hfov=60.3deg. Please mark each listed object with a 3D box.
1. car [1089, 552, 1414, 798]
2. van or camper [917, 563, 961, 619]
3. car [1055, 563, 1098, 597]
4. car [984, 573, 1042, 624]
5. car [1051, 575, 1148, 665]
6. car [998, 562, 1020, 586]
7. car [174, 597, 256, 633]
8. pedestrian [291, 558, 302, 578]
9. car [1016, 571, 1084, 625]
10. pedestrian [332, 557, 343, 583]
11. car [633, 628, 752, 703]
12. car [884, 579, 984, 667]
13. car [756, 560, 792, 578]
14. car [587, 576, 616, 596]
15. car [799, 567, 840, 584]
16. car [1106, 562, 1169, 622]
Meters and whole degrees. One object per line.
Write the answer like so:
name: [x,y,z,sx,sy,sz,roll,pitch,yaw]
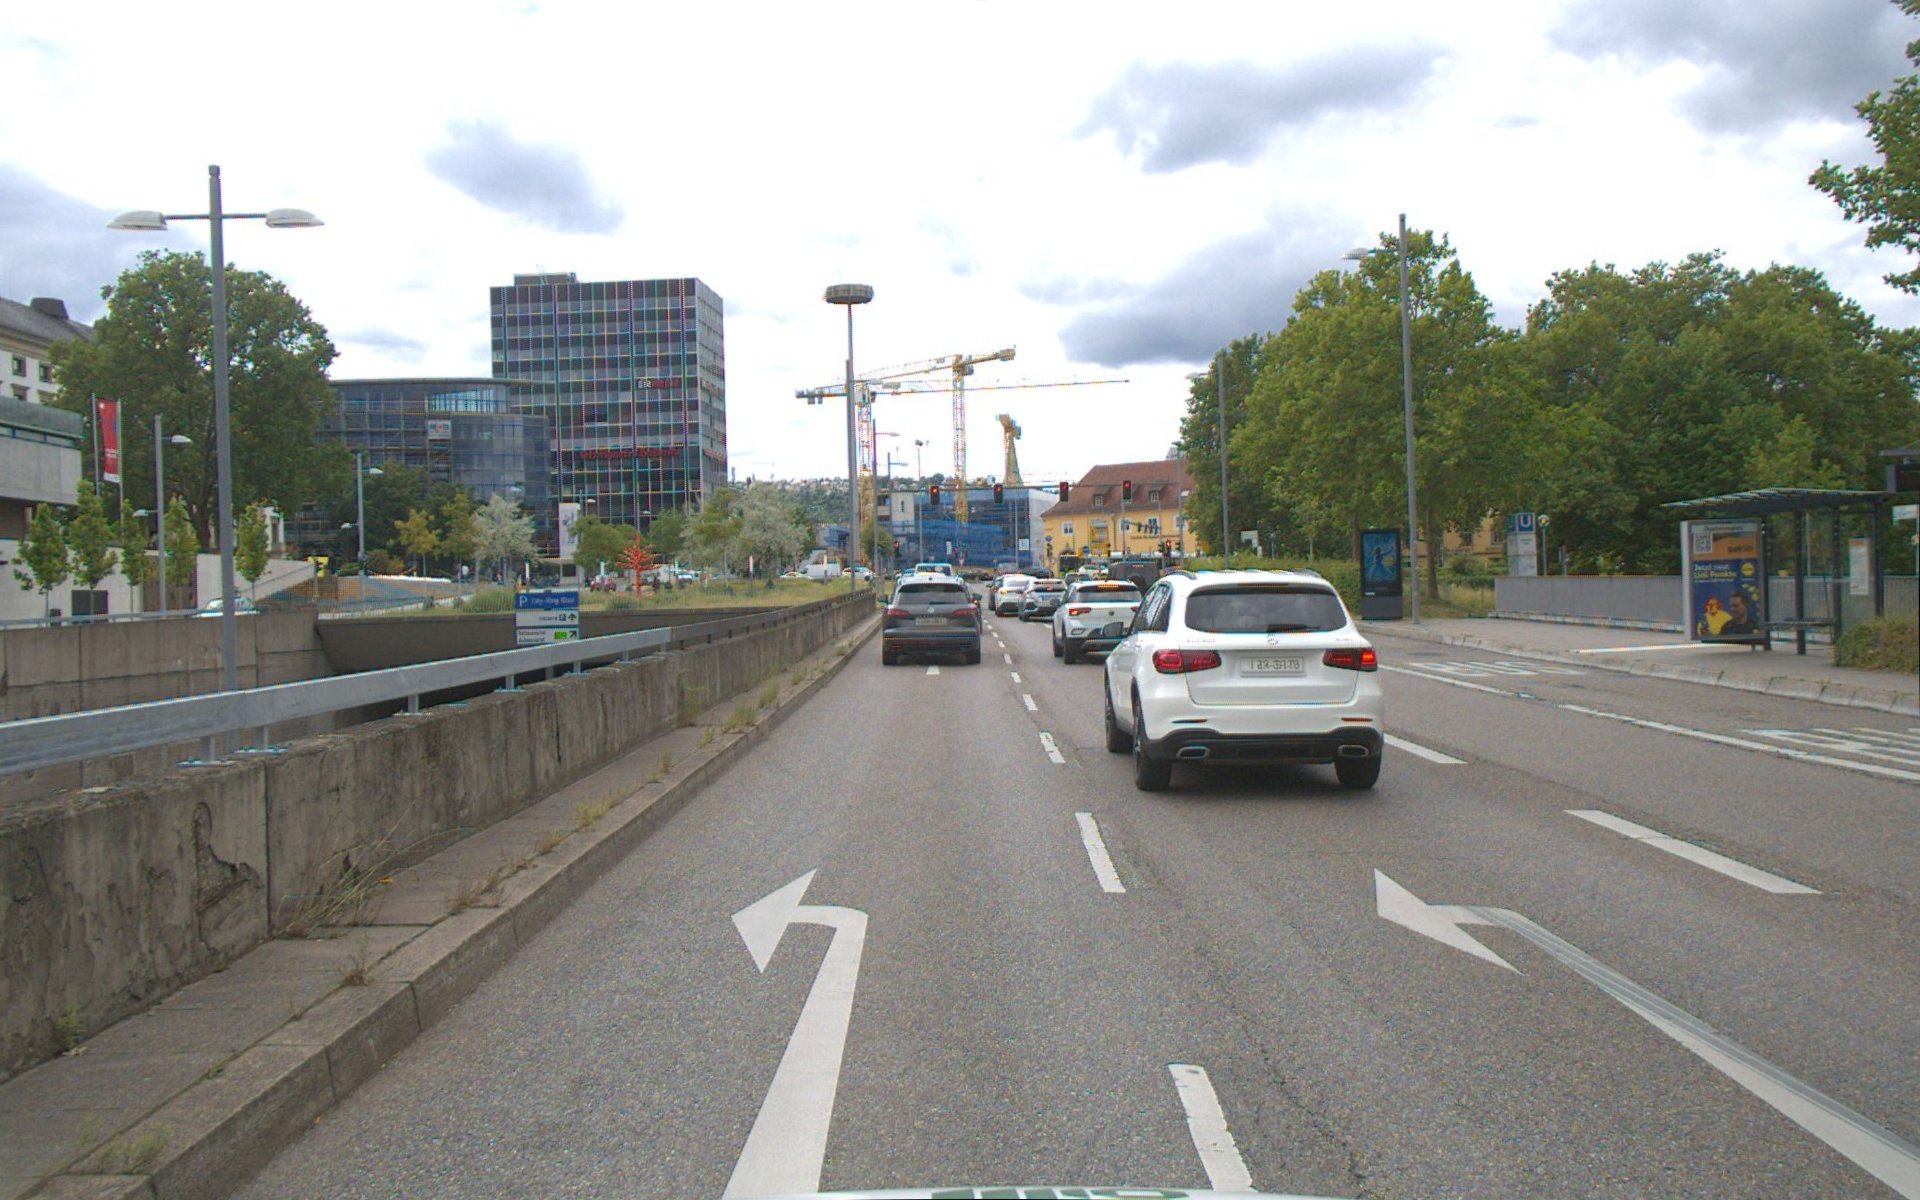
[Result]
car: [2.202,0.546,13.599,1.901,1.713,3.999,0,-1,-1]
van or camper: [-0.935,-0.379,73.686,1.883,2.360,3.999,-1,-2,-1]
car: [5.709,-0.960,81.422,1.684,1.612,3.998,1,0,-2]
car: [1.926,-0.042,61.158,1.953,1.812,3.999,1,-1,-1]
car: [2.736,0.345,33.163,1.638,1.656,4.001,1,1,0]
car: [4.346,-2.275,146.814,1.763,2.049,3.999,1,-1,-1]
car: [-30.849,0.617,68.557,1.772,1.452,3.706,1,-1,-2]
pedestrian: [-59.149,-2.847,147.471,0.626,1.759,0.695,1,-1,0]
car: [2.902,-0.030,54.347,1.953,1.691,3.999,1,-1,-1]
pedestrian: [-42.066,-2.020,111.767,0.630,1.759,0.690,1,-1,-24]
car: [-5.291,1.264,33.168,1.684,1.315,4.000,1,0,0]
car: [-0.521,0.418,33.262,1.883,1.630,3.999,-1,0,-1]
car: [-21.913,-3.661,194.678,3.924,2.049,1.990,1,-1,-18]
car: [-32.117,-1.239,148.207,1.829,1.646,3.480,1,-1,-1]
car: [-17.917,-3.073,210.680,5.183,2.096,1.866,0,-1,36]
car: [6.350,-0.296,59.554,1.751,2.049,3.999,-1,0,-1]
